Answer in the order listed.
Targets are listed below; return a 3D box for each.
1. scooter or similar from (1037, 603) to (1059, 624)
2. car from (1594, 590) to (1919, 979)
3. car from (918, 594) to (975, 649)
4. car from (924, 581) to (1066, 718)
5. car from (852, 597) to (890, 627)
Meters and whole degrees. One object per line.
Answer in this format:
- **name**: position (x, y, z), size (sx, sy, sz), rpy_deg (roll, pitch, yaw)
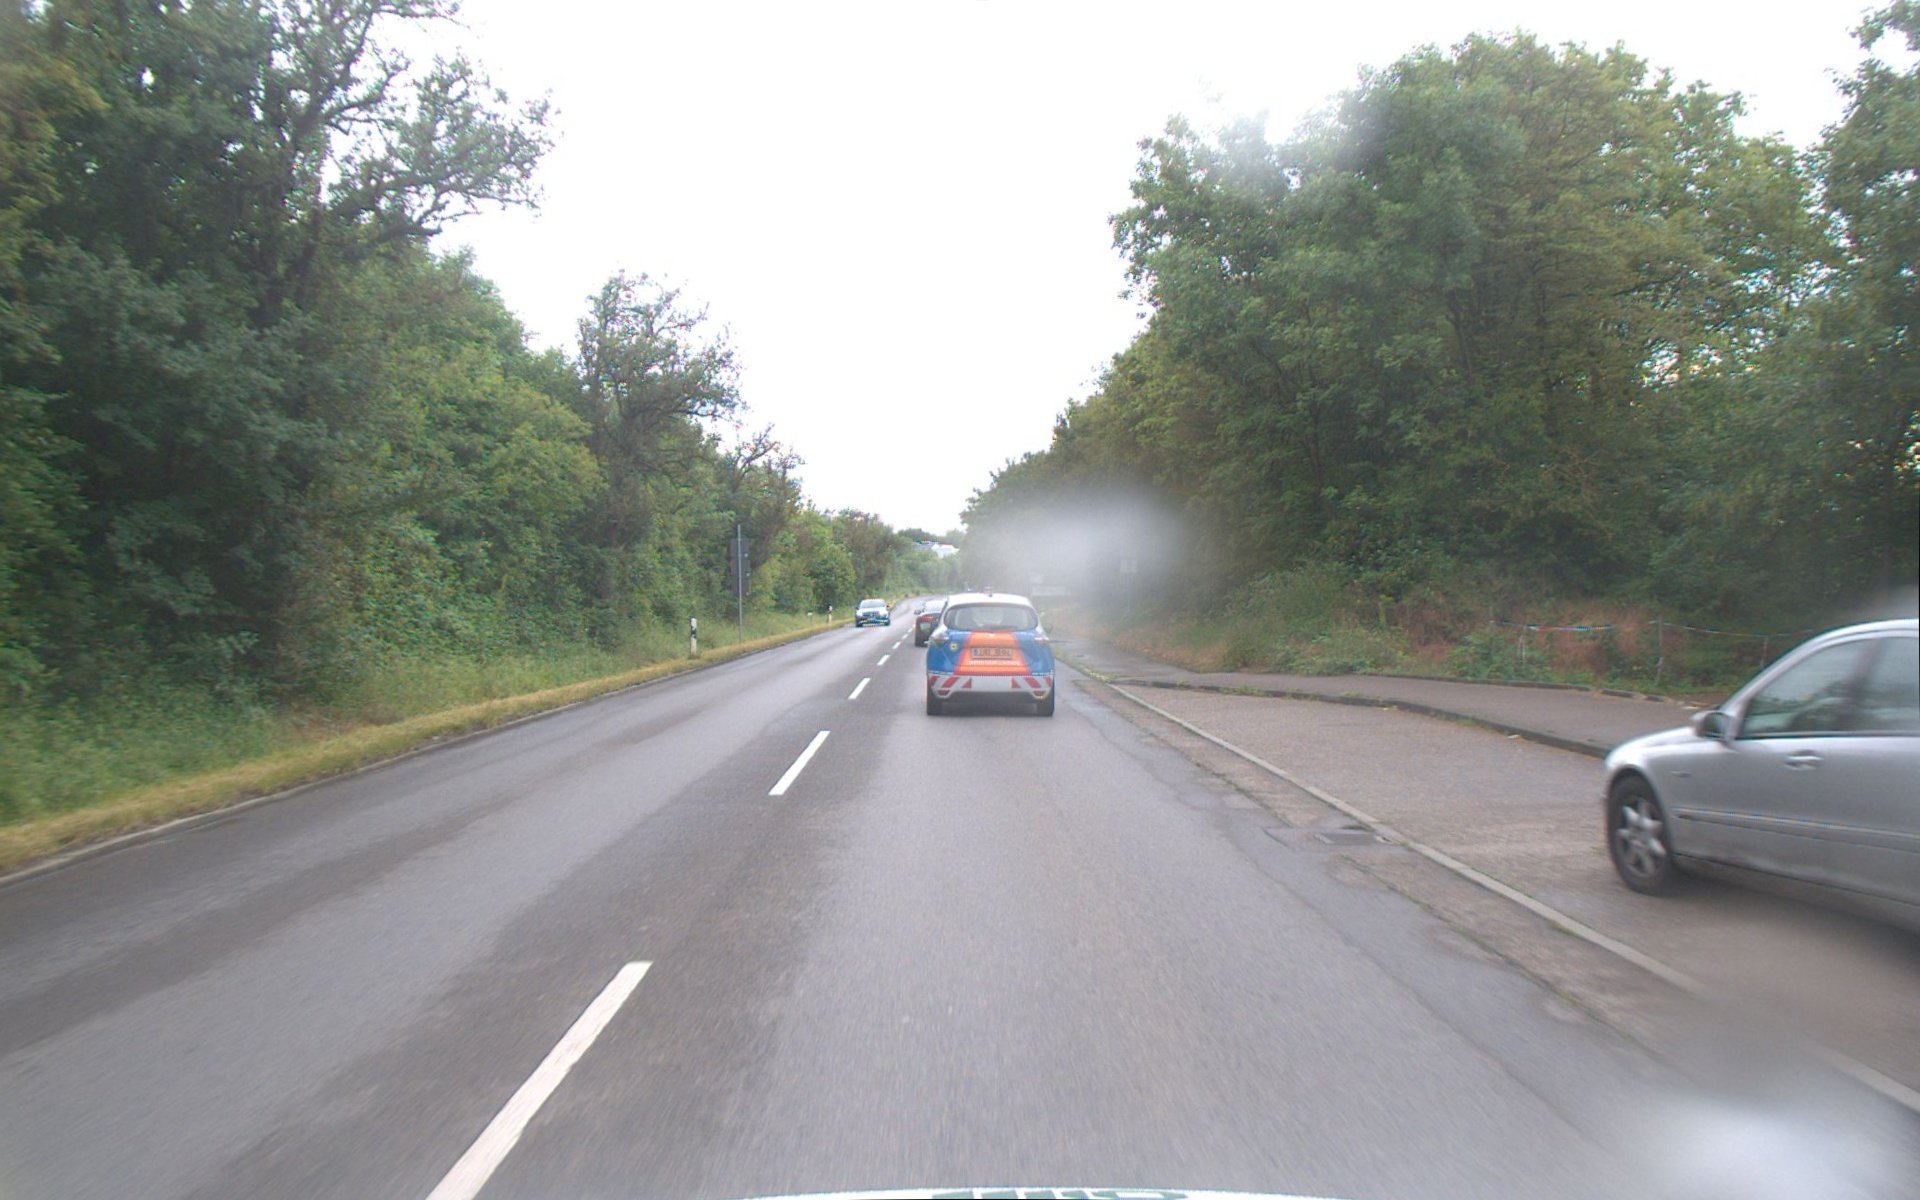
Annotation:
- **scooter or similar**: position (5.136, 0.776, 96.651), size (1.303, 1.227, 0.372), rpy_deg (-2, -1, 40)
- **car**: position (4.544, 0.710, 7.050), size (1.711, 1.494, 4.215), rpy_deg (-2, 0, -5)
- **car**: position (-0.424, 0.648, 51.429), size (1.659, 1.623, 3.855), rpy_deg (1, 0, -1)
- **car**: position (0.410, 0.636, 22.792), size (1.769, 1.697, 3.855), rpy_deg (1, 0, -1)
- **car**: position (-4.956, 0.656, 92.553), size (1.833, 1.515, 4.573), rpy_deg (-4, 0, -1)
